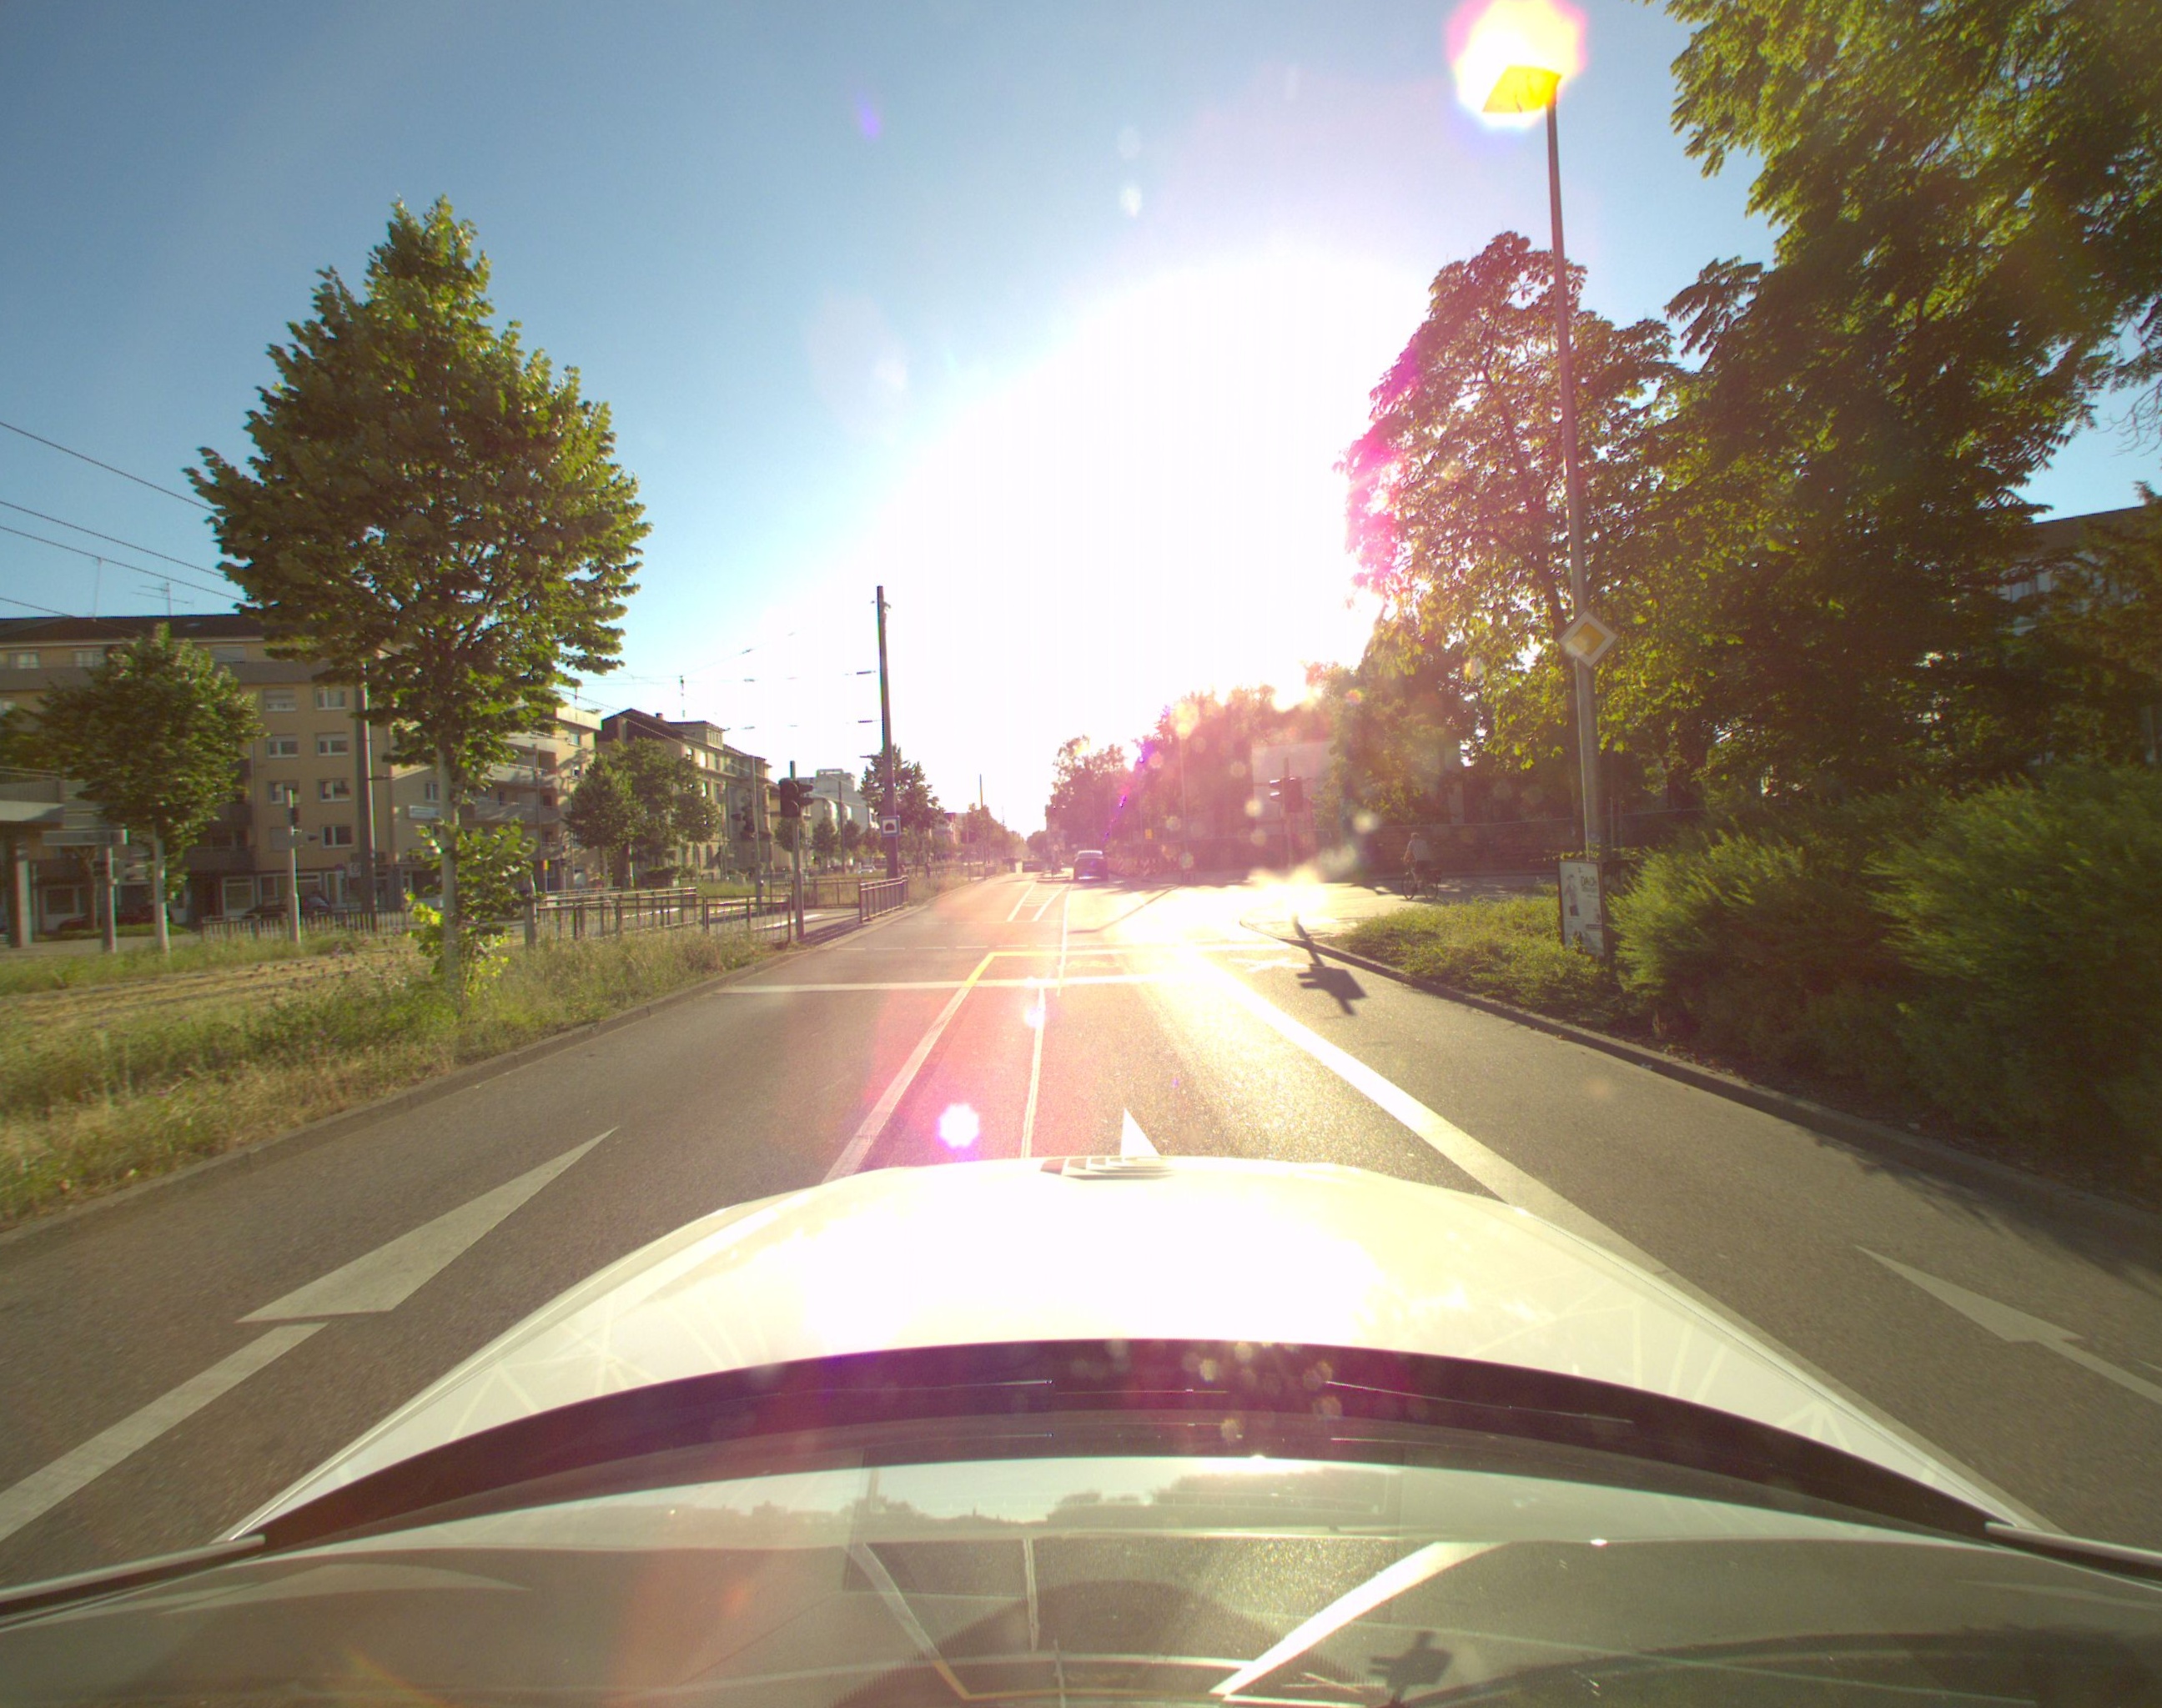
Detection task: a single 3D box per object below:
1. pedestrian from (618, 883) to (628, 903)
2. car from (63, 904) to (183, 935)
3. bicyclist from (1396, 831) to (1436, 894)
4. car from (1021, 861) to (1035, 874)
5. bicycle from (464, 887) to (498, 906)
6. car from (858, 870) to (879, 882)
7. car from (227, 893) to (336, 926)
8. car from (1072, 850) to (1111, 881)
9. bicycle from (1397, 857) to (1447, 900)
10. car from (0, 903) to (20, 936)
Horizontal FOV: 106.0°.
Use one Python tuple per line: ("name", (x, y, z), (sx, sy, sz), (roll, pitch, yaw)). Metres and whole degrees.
("pedestrian", (-38.412, 3.273, 68.359), (0.518, 1.555, 0.447), (-3, 0, -5))
("car", (-52.375, 3.570, 44.588), (3.978, 1.303, 1.998), (-3, 0, -3))
("bicyclist", (8.930, 0.227, 21.724), (0.582, 1.614, 0.902), (-3, 0, -3))
("car", (-7.364, 1.889, 113.619), (1.822, 1.659, 3.996), (-1, -1, -3))
("bicycle", (-42.136, 2.976, 57.203), (0.529, 1.137, 2.583), (-3, 0, -2))
("car", (-28.949, 3.004, 110.949), (1.772, 1.463, 4.656), (-2, 0, -3))
("car", (-44.129, 3.031, 45.032), (3.978, 1.496, 1.845), (-3, 0, -4))
("car", (0.548, 0.672, 47.230), (2.000, 1.659, 3.996), (-1, -1, -3))
("bicycle", (9.061, 0.630, 21.711), (0.426, 1.061, 1.910), (-3, 0, -2))
("car", (-60.756, 3.694, 43.987), (3.978, 1.743, 1.998), (-3, 0, -3))
